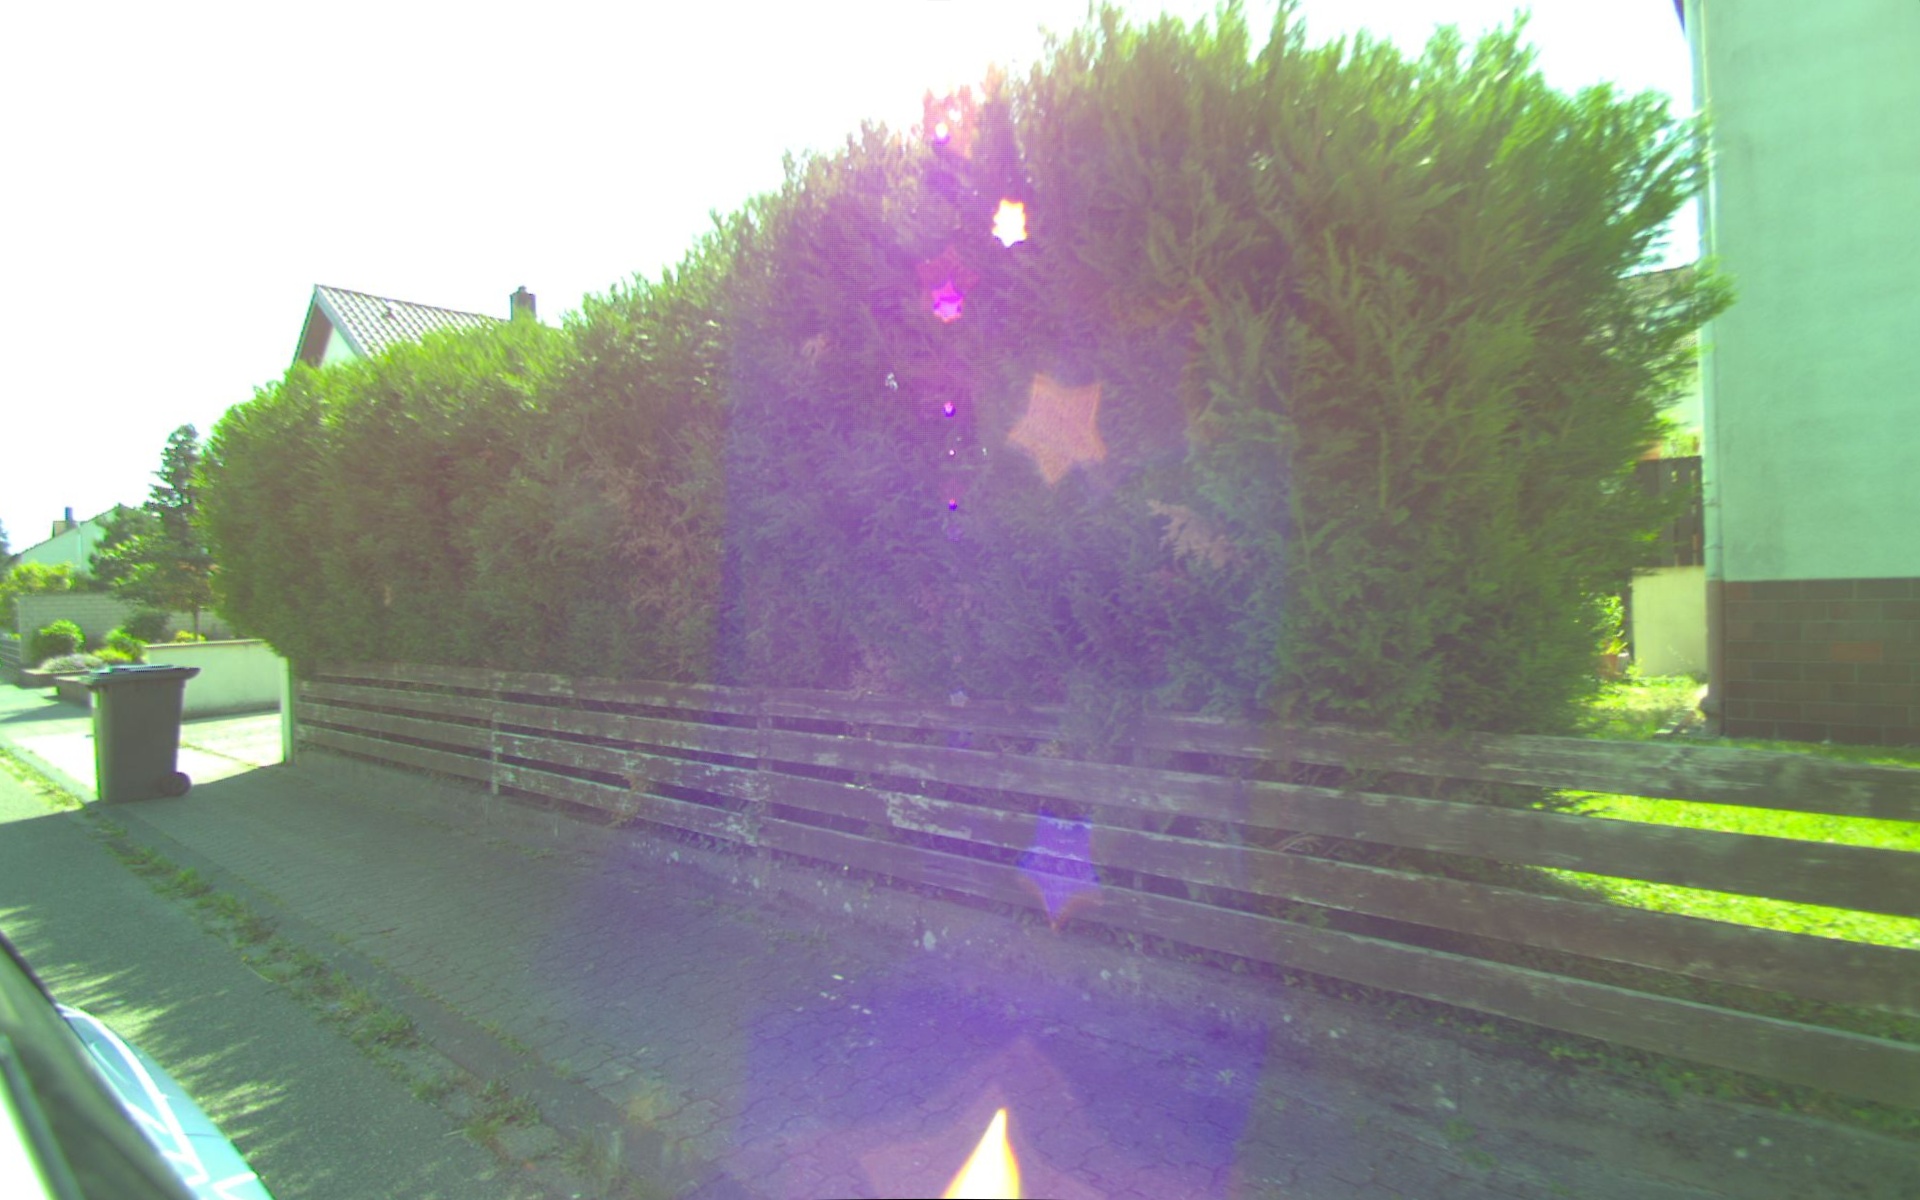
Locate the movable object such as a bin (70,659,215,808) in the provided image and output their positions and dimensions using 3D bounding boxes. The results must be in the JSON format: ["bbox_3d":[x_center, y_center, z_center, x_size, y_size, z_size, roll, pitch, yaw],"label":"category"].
[{"bbox_3d":[-6.620,1.042,8.201,0.611,1.071,0.810,-2,0,41],"label":"movable object such as a bin"}]
